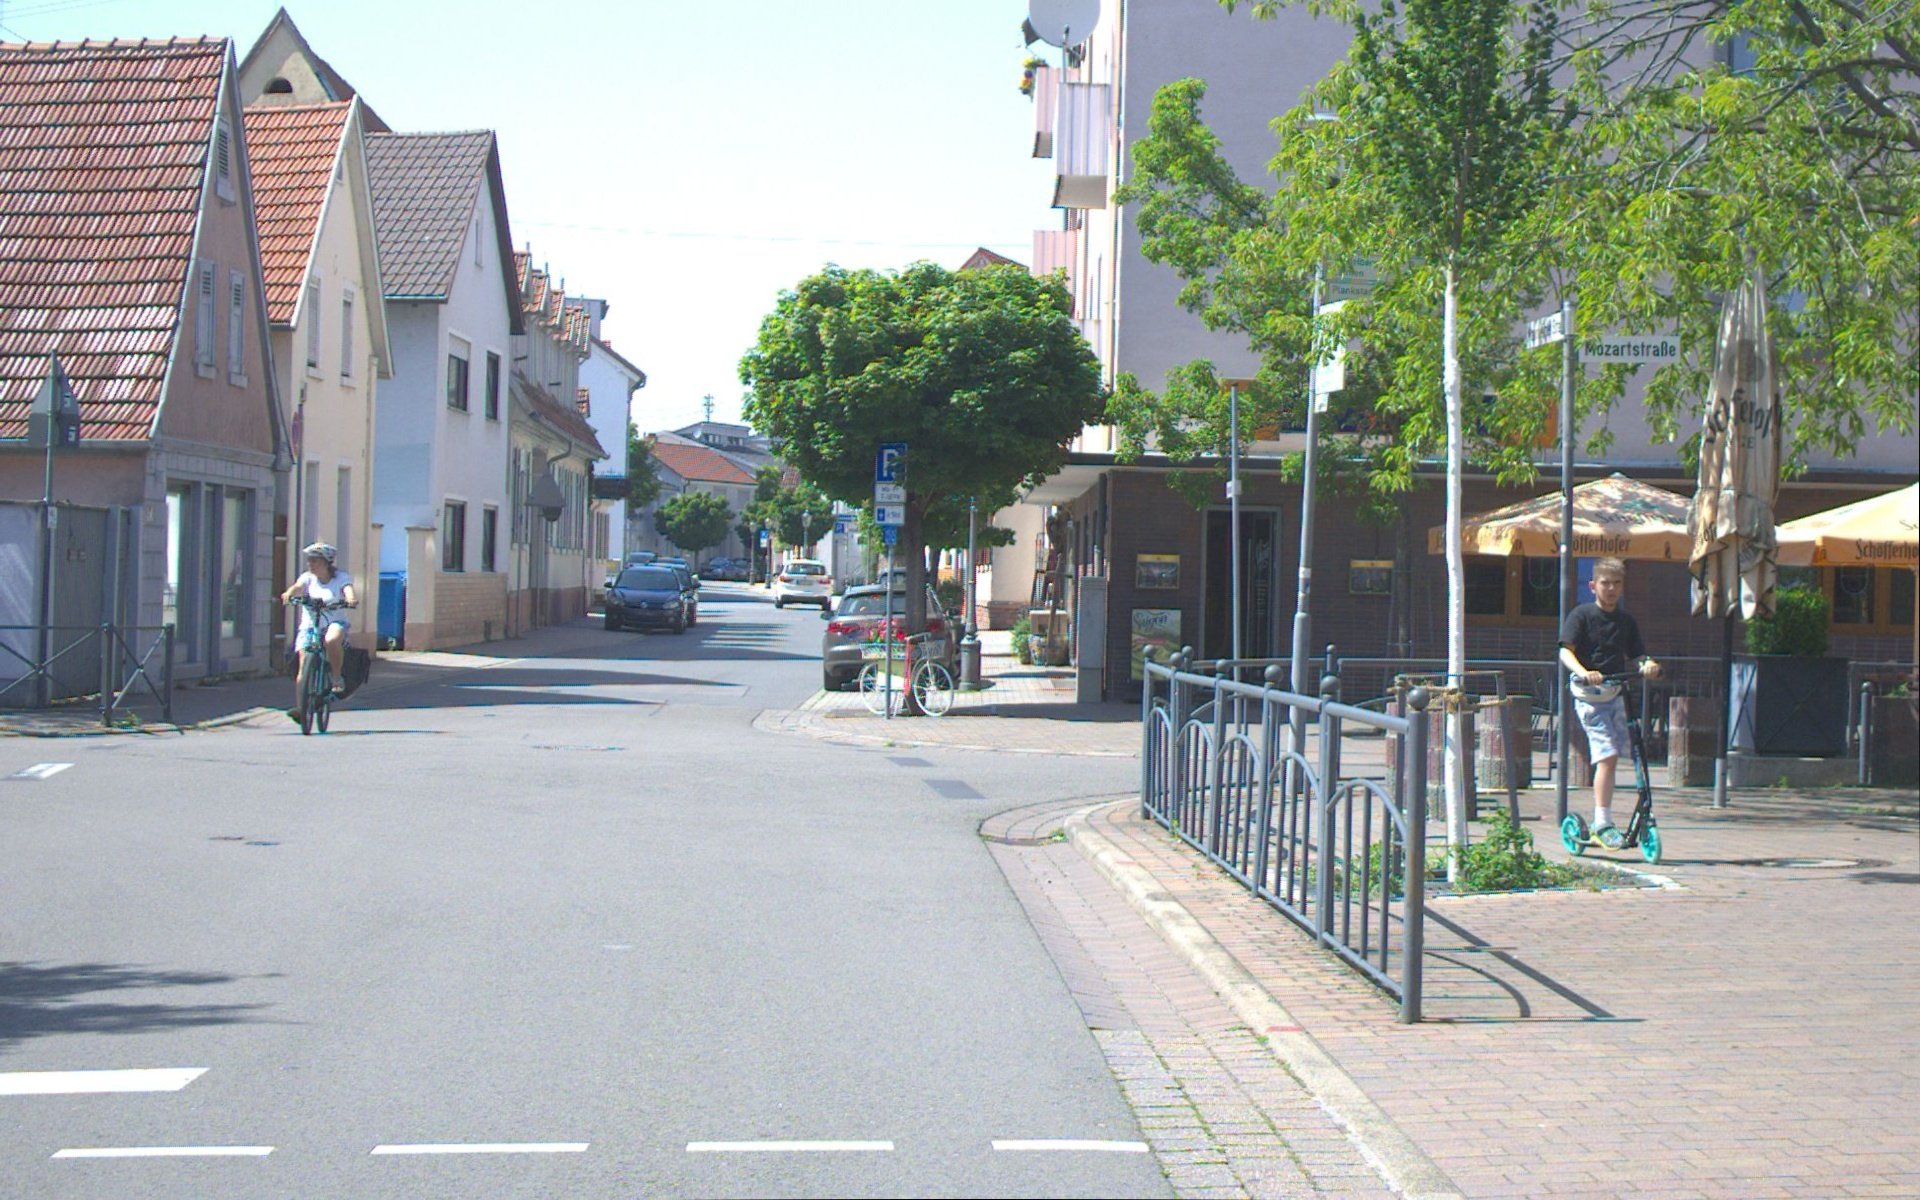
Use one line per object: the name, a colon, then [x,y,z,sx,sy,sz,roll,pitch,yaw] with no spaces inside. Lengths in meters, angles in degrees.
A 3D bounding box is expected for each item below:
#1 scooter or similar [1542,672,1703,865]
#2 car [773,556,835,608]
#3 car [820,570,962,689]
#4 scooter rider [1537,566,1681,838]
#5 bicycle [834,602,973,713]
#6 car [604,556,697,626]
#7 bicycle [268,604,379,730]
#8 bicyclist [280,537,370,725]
scooter or similar: [3.171,0.796,16.503,0.378,0.870,0.890,1,0,-16]
car: [-5.101,-0.595,112.716,1.834,1.646,4.000,1,0,0]
car: [-0.912,0.370,47.385,1.805,1.496,4.000,1,1,1]
scooter rider: [3.116,0.484,16.519,0.516,1.281,0.418,1,0,-16]
bicycle: [-0.641,0.639,38.613,0.525,1.189,1.674,1,0,-44]
car: [-7.014,-0.217,78.191,1.714,1.512,3.786,1,0,0]
bicycle: [-5.757,0.592,31.174,0.674,1.090,1.896,0,0,-1]
bicyclist: [-5.743,0.275,31.119,0.669,1.685,0.761,0,0,-1]
